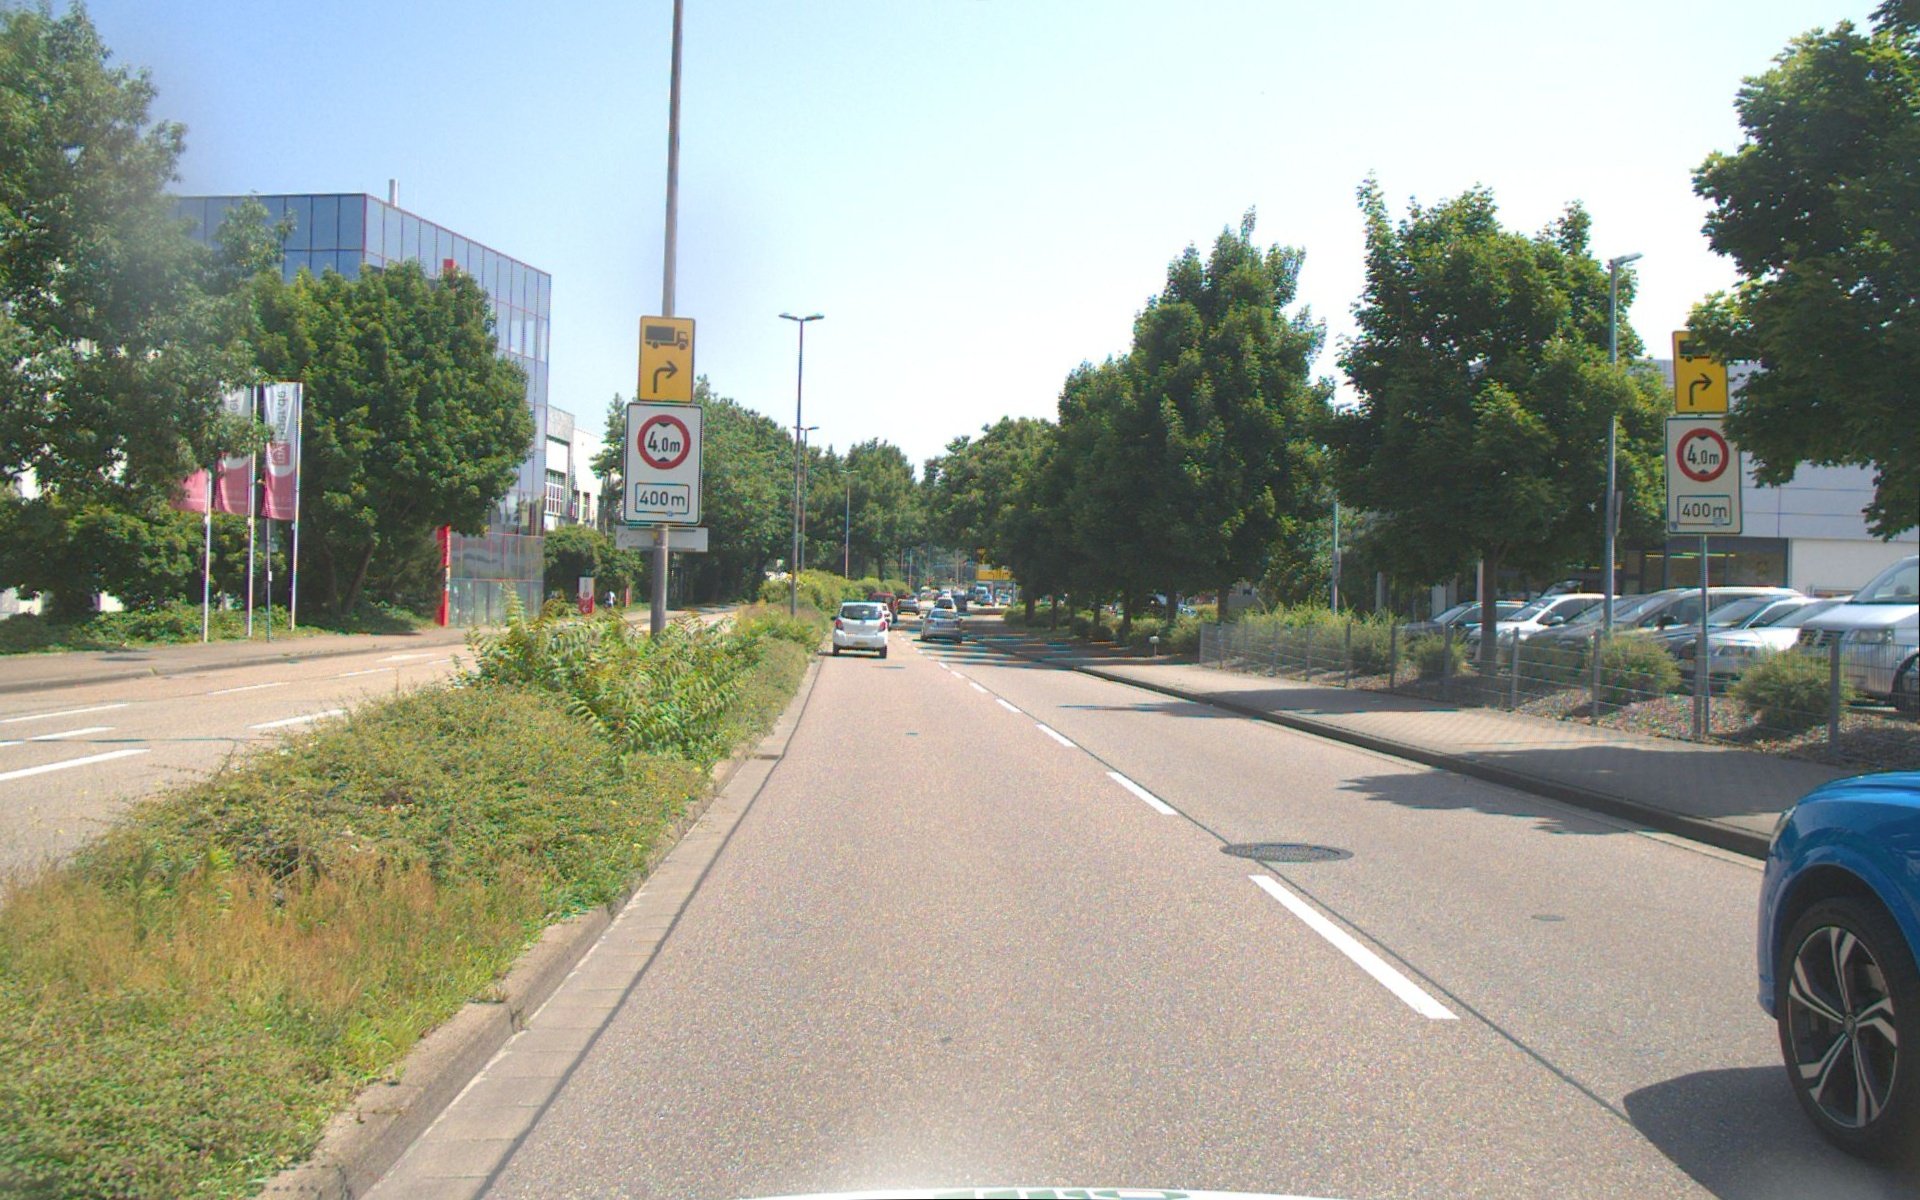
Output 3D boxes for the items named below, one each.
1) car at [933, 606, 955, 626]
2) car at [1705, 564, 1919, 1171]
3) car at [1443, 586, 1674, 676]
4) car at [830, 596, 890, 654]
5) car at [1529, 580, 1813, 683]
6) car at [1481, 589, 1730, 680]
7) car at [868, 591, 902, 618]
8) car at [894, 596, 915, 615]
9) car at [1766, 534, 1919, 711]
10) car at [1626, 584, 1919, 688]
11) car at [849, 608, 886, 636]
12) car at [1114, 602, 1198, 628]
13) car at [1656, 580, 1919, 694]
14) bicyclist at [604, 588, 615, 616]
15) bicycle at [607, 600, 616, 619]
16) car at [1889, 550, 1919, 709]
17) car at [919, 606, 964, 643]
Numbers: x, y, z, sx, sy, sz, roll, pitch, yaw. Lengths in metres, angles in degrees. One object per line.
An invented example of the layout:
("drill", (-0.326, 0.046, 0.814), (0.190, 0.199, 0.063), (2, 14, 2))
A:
("car", (-1.145, 1.122, 118.543), (1.412, 1.372, 3.457), (0, 0, -3))
("car", (3.462, 0.692, 3.400), (1.772, 1.620, 4.348), (-1, 0, -2))
("car", (11.883, 0.610, 32.992), (3.910, 1.624, 1.824), (2, 0, -6))
("car", (-2.890, 0.721, 48.424), (1.605, 1.579, 3.323), (2, 0, -2))
("car", (11.680, 0.526, 27.334), (3.907, 1.561, 1.826), (1, -1, -2))
("car", (11.876, 0.641, 30.560), (3.912, 1.561, 1.823), (1, -1, -8))
("car", (-4.706, 0.282, 103.703), (1.845, 1.636, 4.001), (0, 0, 2))
("car", (-4.275, 0.421, 126.967), (1.458, 1.416, 3.305), (3, 0, -3))
("car", (12.180, 0.298, 19.456), (4.524, 1.958, 1.826), (1, 0, -2))
("car", (12.230, 0.519, 24.574), (3.907, 1.414, 1.826), (1, 0, -2))
("car", (-4.862, 1.137, 86.995), (1.847, 1.378, 3.997), (3, 0, -4))
("car", (10.798, 0.824, 91.425), (1.932, 1.375, 4.652), (0, 0, -37))
("car", (11.675, 0.490, 22.189), (3.907, 1.414, 1.826), (1, 0, -2))
("bicyclist", (-19.366, 0.125, 91.393), (0.534, 1.536, 0.343), (0, -1, -4))
("bicycle", (-19.253, 0.528, 91.433), (0.339, 1.086, 0.922), (0, 0, -3))
("car", (11.963, 0.352, 16.563), (4.277, 1.621, 1.827), (1, 0, 0))
("car", (-0.841, 1.046, 73.012), (1.828, 1.498, 3.999), (3, 0, -2))
